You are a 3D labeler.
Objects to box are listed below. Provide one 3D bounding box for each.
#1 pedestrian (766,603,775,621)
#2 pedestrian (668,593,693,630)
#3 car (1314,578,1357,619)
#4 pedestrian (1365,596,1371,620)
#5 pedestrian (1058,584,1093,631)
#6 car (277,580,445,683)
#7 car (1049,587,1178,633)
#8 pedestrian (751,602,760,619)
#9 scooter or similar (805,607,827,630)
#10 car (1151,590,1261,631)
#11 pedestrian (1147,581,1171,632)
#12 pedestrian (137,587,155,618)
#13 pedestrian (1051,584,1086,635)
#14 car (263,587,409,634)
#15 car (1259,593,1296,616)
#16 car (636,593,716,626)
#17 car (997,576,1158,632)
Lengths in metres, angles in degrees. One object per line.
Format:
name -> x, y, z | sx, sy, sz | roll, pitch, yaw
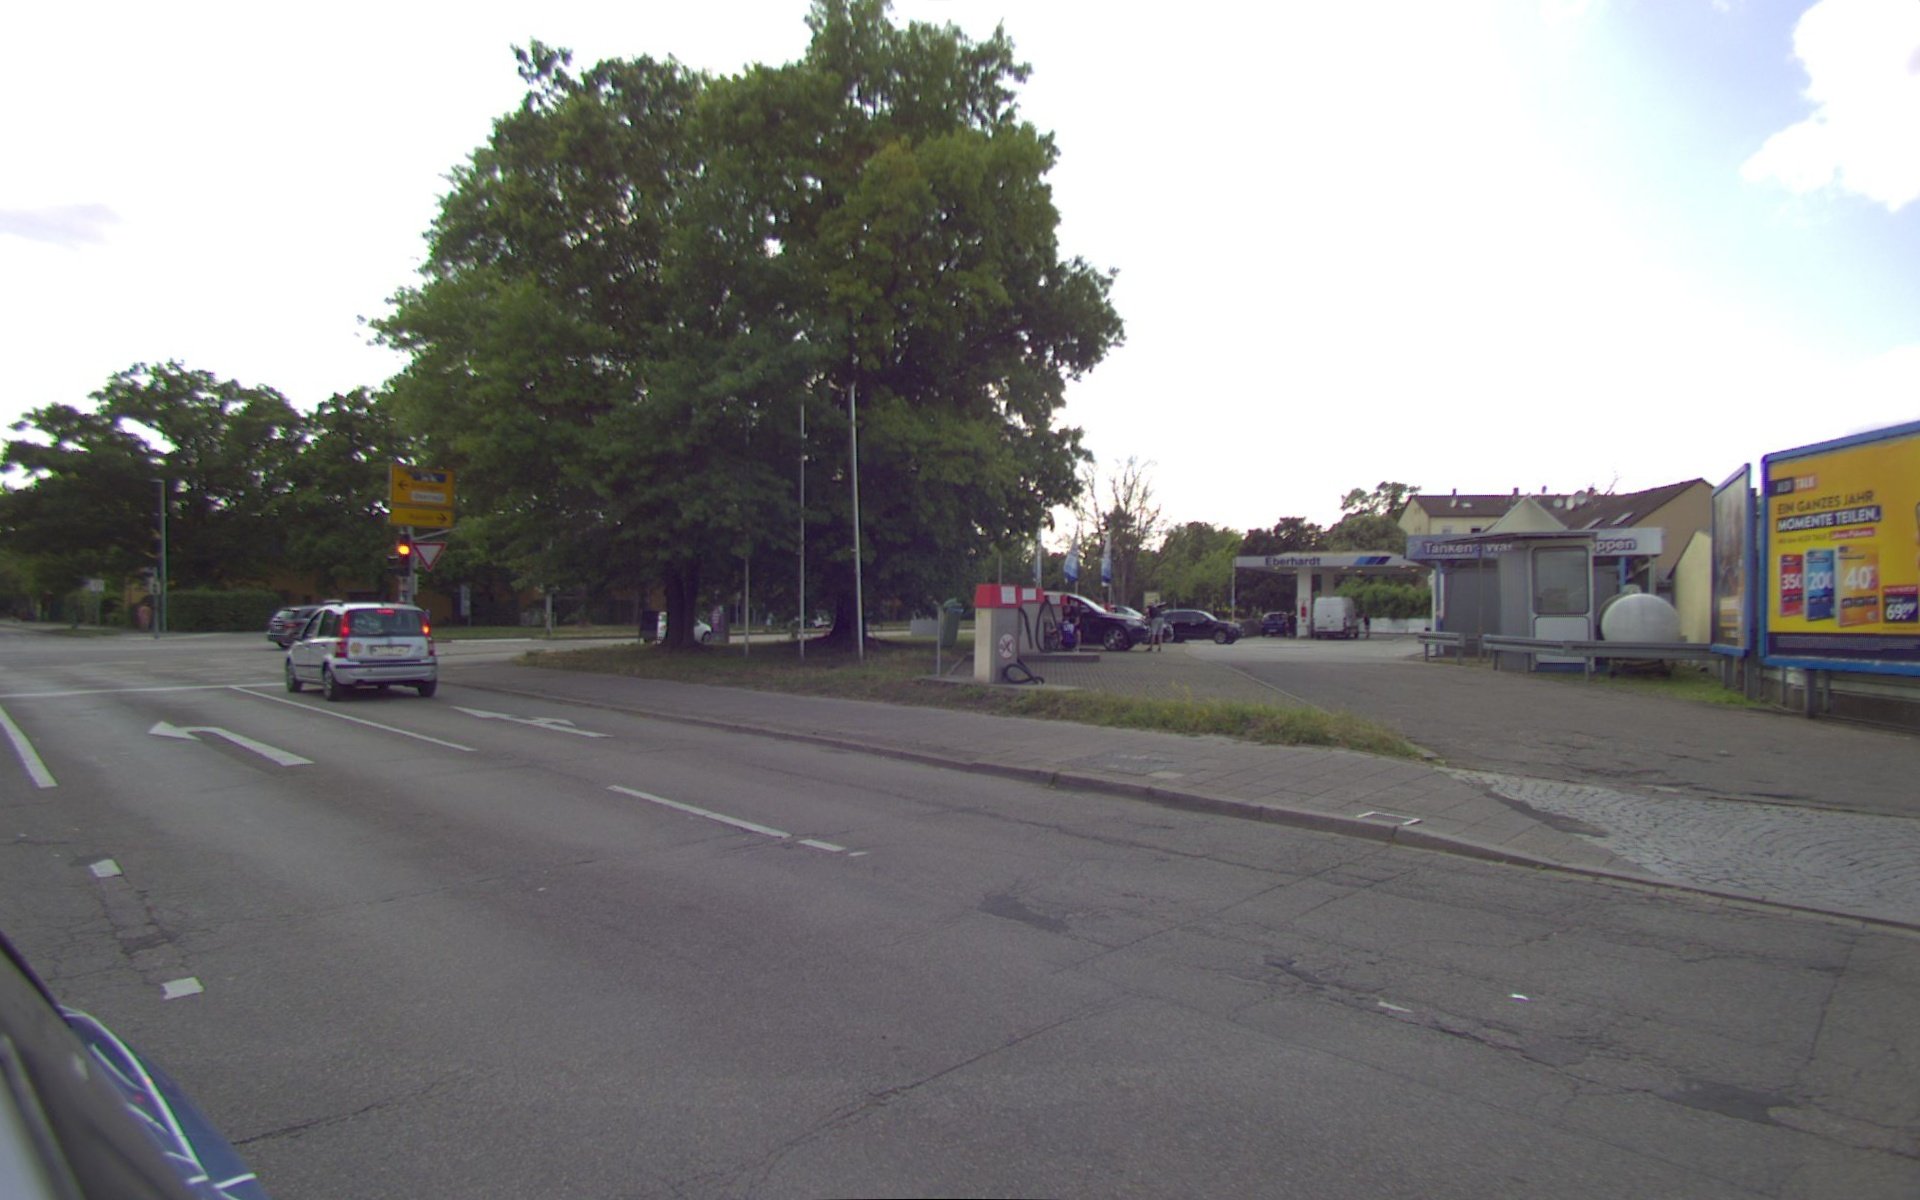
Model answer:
pedestrian -> -16.635, 1.050, 88.982 | 0.566, 1.507, 0.419 | 2, 0, 16
pedestrian -> -11.852, 0.499, 42.905 | 0.721, 1.543, 0.756 | 0, -1, 15
car -> 23.636, -0.077, 63.555 | 1.748, 2.472, 5.693 | 0, -1, 29
pedestrian -> 26.671, 0.545, 66.172 | 0.325, 1.535, 0.423 | 2, 0, 21
pedestrian -> 3.037, 0.199, 26.682 | 0.634, 1.199, 0.768 | 2, 0, -13
car -> -10.077, 0.469, 16.924 | 3.610, 1.528, 1.536 | 0, 0, 44
car -> 6.543, 0.417, 43.117 | 5.160, 1.840, 2.139 | 0, -1, 21
pedestrian -> -18.292, 0.934, 90.572 | 0.566, 1.507, 0.419 | 2, 0, 16
scooter or similar -> -6.251, 0.817, 43.936 | 0.220, 0.987, 1.259 | 0, -1, 31
car -> 12.677, 0.553, 52.226 | 5.173, 2.019, 2.133 | 0, -1, 28
pedestrian -> 6.002, 0.189, 30.515 | 0.559, 1.506, 0.615 | 2, 0, 24
pedestrian -> -46.896, 0.138, 58.318 | 0.681, 1.755, 0.707 | 0, -1, -31
pedestrian -> 2.763, 0.241, 25.817 | 0.634, 1.265, 0.768 | 2, 0, -13
car -> -22.976, 0.374, 37.451 | 1.698, 1.631, 4.314 | 1, 0, 30
car -> 21.514, 0.311, 68.525 | 1.748, 1.465, 3.704 | 0, -1, 29
car -> -13.349, 0.447, 47.743 | 1.571, 1.508, 3.500 | 0, -1, 34
car -> 3.602, 0.140, 30.929 | 4.531, 1.608, 2.139 | 0, -1, 21
